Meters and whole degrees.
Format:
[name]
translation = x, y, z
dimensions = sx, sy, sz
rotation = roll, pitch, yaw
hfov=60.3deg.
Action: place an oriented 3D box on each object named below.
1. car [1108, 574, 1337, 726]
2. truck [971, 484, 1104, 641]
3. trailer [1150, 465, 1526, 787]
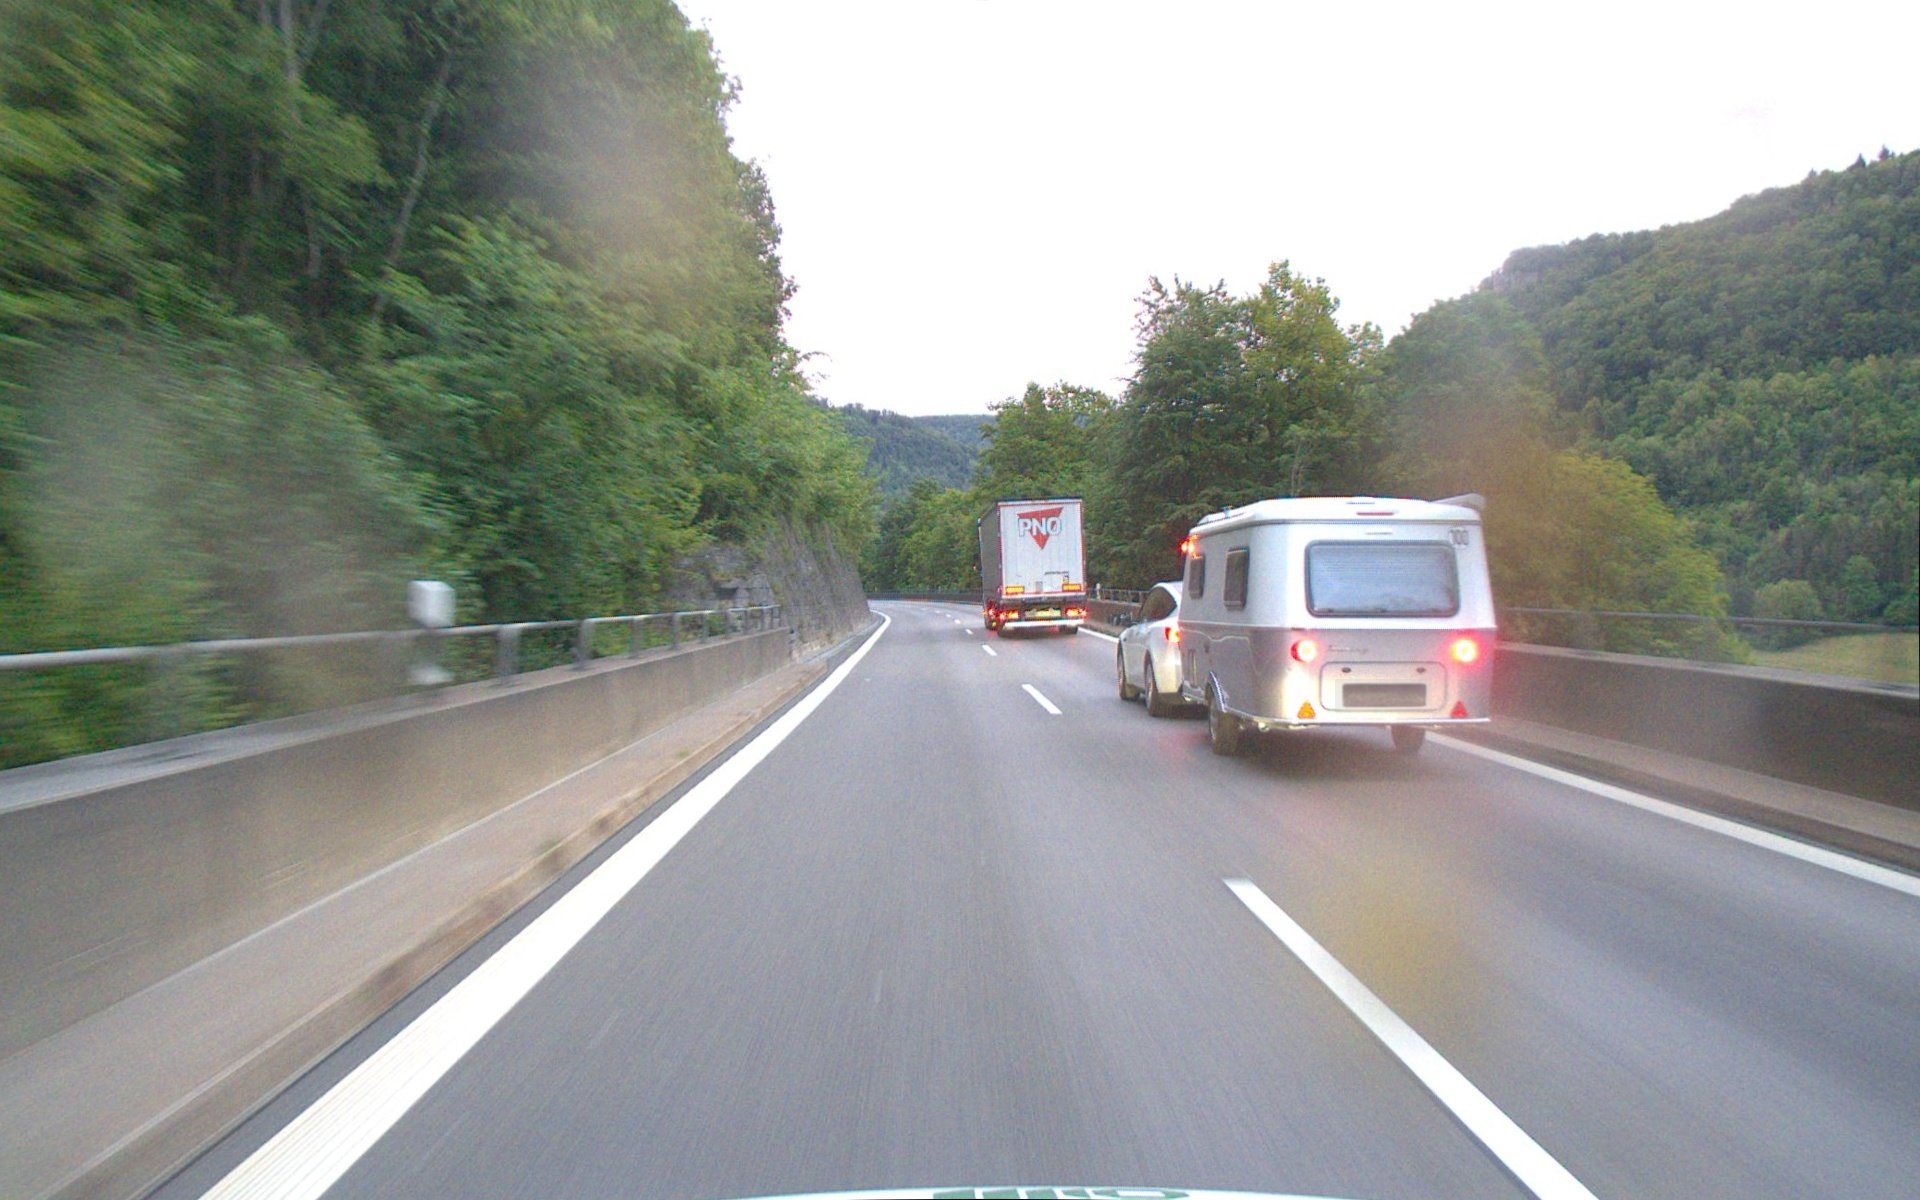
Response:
[car]
translation = 3.201, 0.565, 21.196
dimensions = 1.953, 1.642, 4.863
rotation = -2, 0, -2
[truck]
translation = 2.254, -1.100, 55.094
dimensions = 3.228, 4.245, 16.500
rotation = -4, 0, -1
[trailer]
translation = 3.289, 0.180, 15.850
dimensions = 2.013, 2.416, 5.936
rotation = -3, 0, -1
